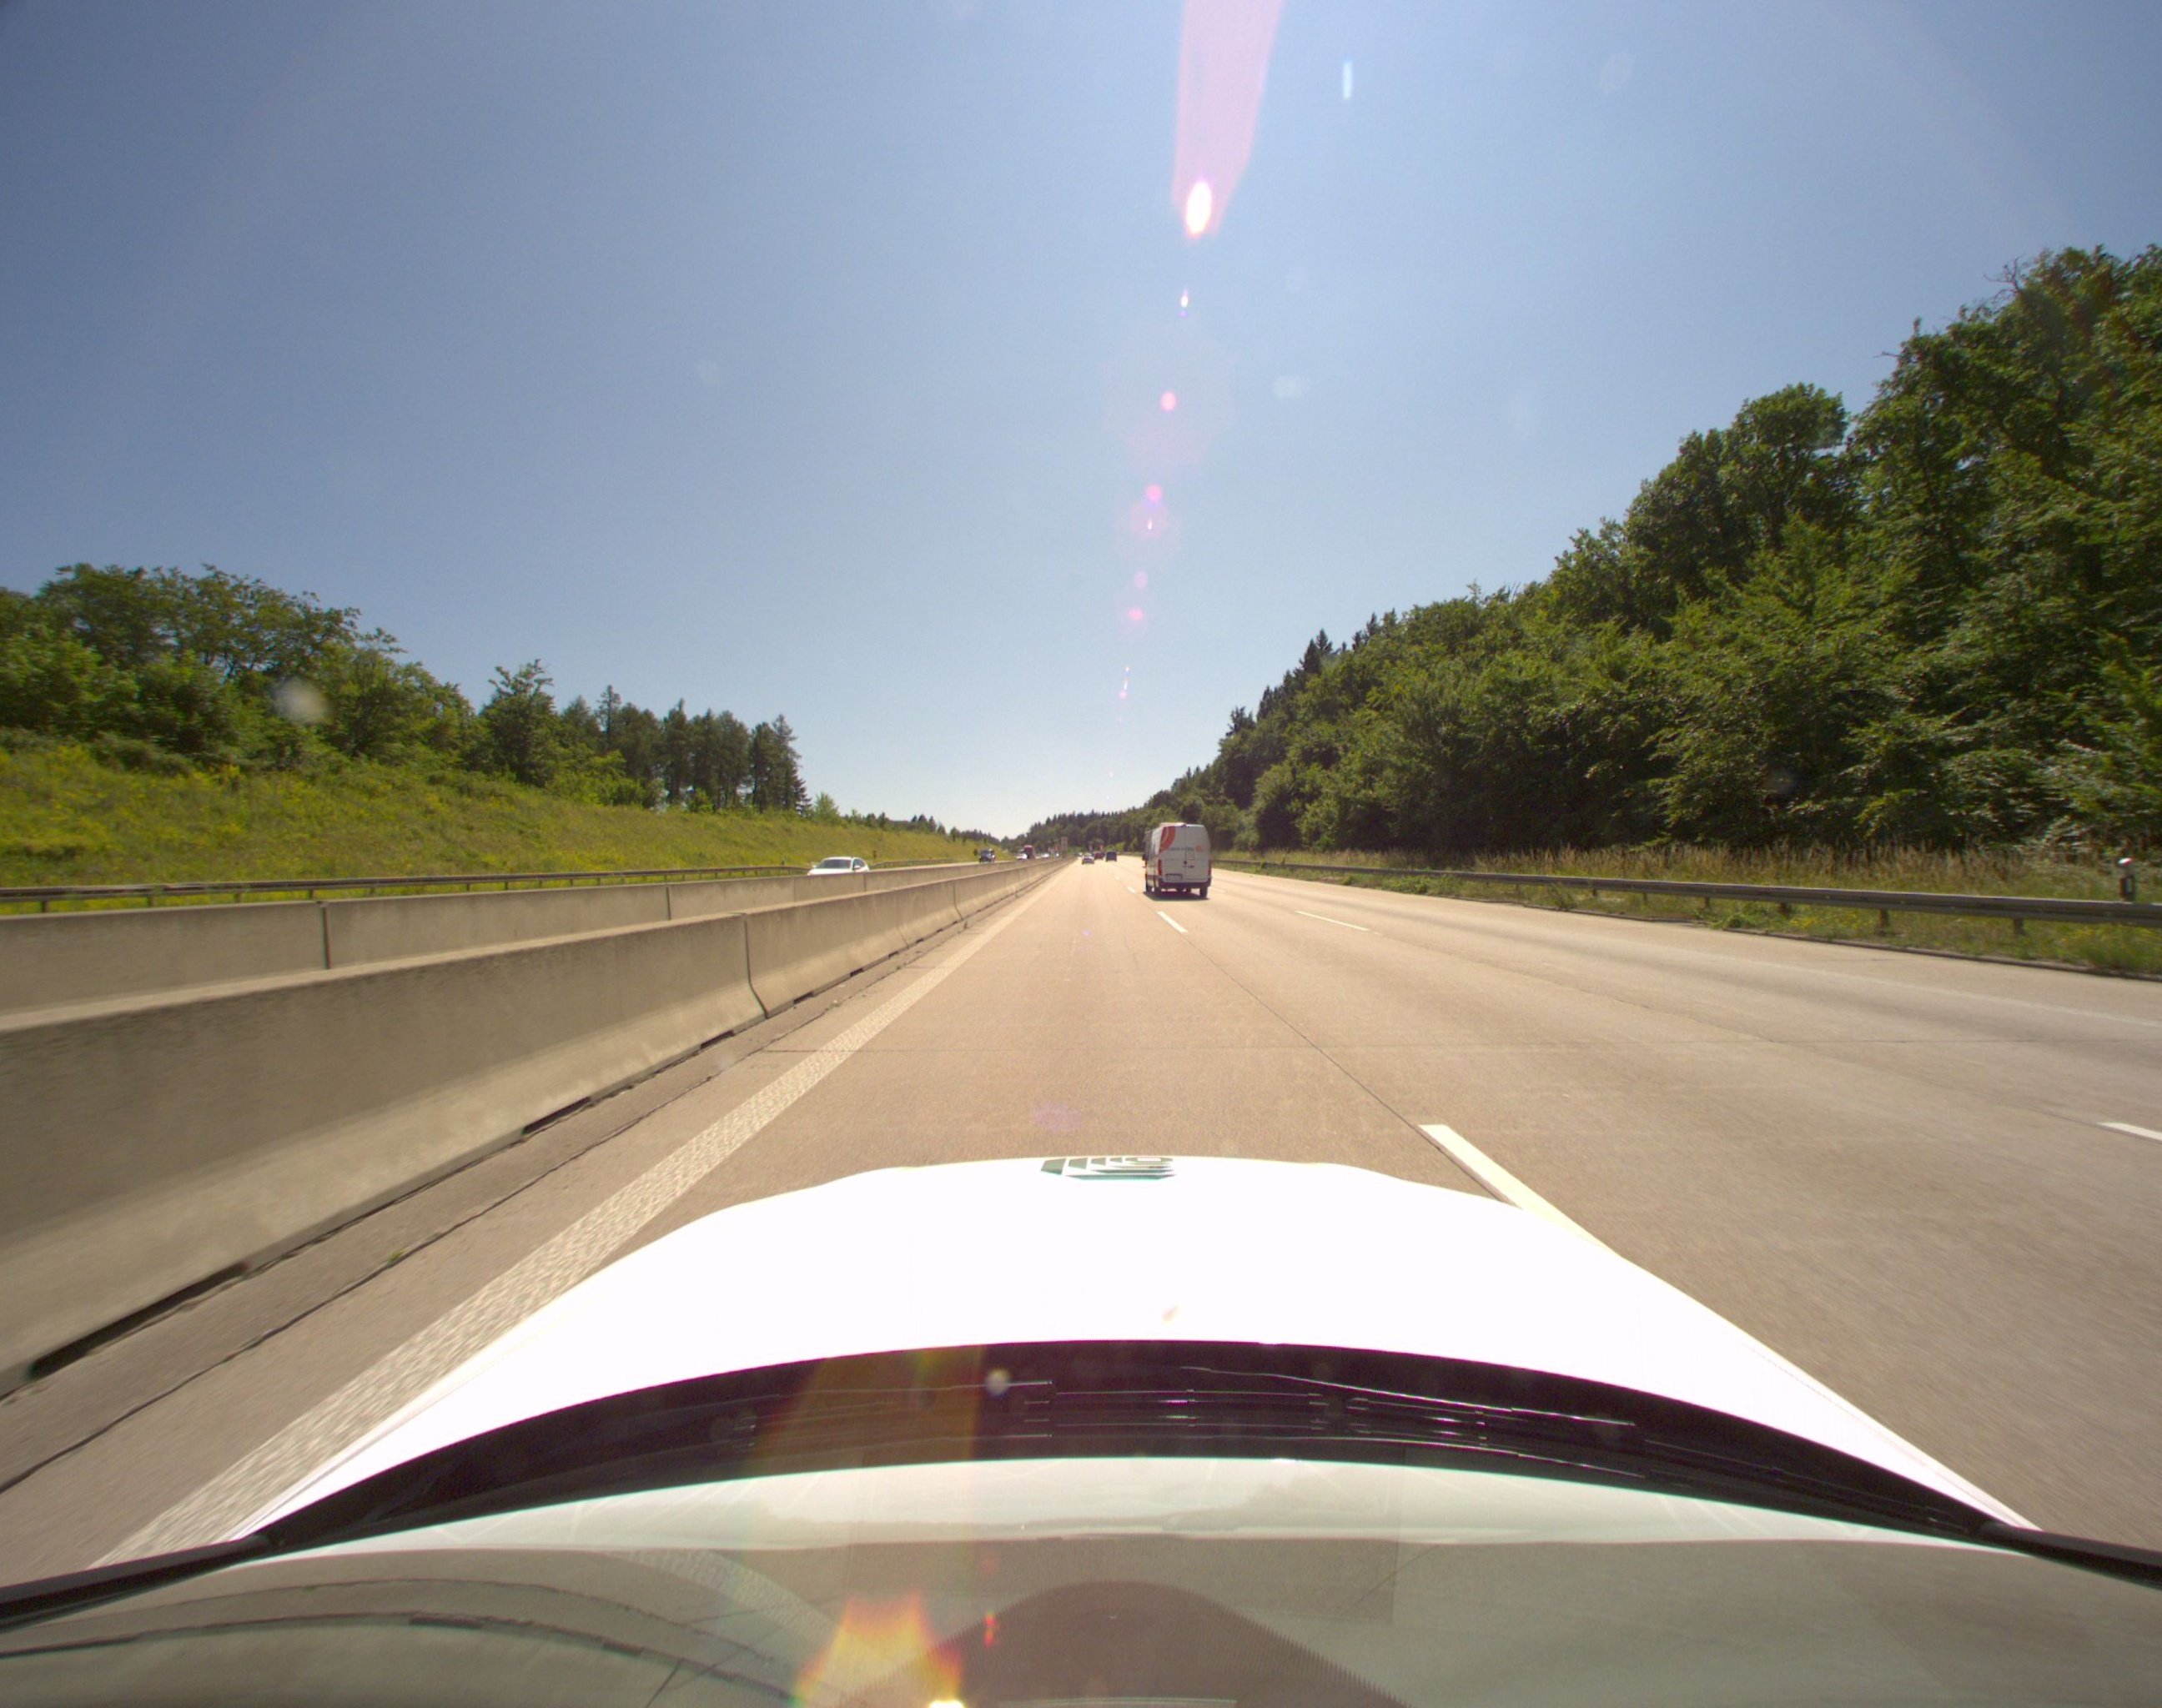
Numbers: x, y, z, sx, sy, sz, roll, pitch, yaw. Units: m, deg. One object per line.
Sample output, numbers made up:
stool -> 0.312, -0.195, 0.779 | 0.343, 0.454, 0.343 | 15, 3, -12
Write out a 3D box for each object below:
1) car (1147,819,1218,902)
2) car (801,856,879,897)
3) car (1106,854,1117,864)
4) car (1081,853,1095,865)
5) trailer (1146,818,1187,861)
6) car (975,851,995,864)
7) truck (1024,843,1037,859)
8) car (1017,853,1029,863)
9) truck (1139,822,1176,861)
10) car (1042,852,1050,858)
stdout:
car -> 3.809, 0.181, 31.441 | 2.217, 2.844, 5.458 | -2, 1, 3
car -> -9.928, 0.902, 33.901 | 1.988, 1.605, 4.409 | 0, 0, -1
car -> 5.307, 0.910, 142.138 | 1.986, 1.684, 4.001 | 0, -1, 1
car -> 1.066, 0.734, 119.187 | 1.987, 1.684, 3.999 | 0, -1, 0
trailer -> 8.521, -1.360, 82.721 | 3.124, 4.017, 9.087 | -2, 0, 0
car -> -16.035, 0.544, 136.496 | 2.472, 2.210, 6.459 | 0, 0, 1
truck -> -14.565, -0.884, 235.709 | 3.375, 4.431, 6.800 | 0, -1, 0
car -> -11.318, 0.810, 158.953 | 2.001, 1.807, 4.854 | 0, 0, 1
truck -> 8.608, -1.377, 92.573 | 3.149, 4.017, 10.608 | -2, 0, 1
car -> -9.874, 0.202, 229.036 | 1.987, 1.564, 4.000 | 0, 0, 0
